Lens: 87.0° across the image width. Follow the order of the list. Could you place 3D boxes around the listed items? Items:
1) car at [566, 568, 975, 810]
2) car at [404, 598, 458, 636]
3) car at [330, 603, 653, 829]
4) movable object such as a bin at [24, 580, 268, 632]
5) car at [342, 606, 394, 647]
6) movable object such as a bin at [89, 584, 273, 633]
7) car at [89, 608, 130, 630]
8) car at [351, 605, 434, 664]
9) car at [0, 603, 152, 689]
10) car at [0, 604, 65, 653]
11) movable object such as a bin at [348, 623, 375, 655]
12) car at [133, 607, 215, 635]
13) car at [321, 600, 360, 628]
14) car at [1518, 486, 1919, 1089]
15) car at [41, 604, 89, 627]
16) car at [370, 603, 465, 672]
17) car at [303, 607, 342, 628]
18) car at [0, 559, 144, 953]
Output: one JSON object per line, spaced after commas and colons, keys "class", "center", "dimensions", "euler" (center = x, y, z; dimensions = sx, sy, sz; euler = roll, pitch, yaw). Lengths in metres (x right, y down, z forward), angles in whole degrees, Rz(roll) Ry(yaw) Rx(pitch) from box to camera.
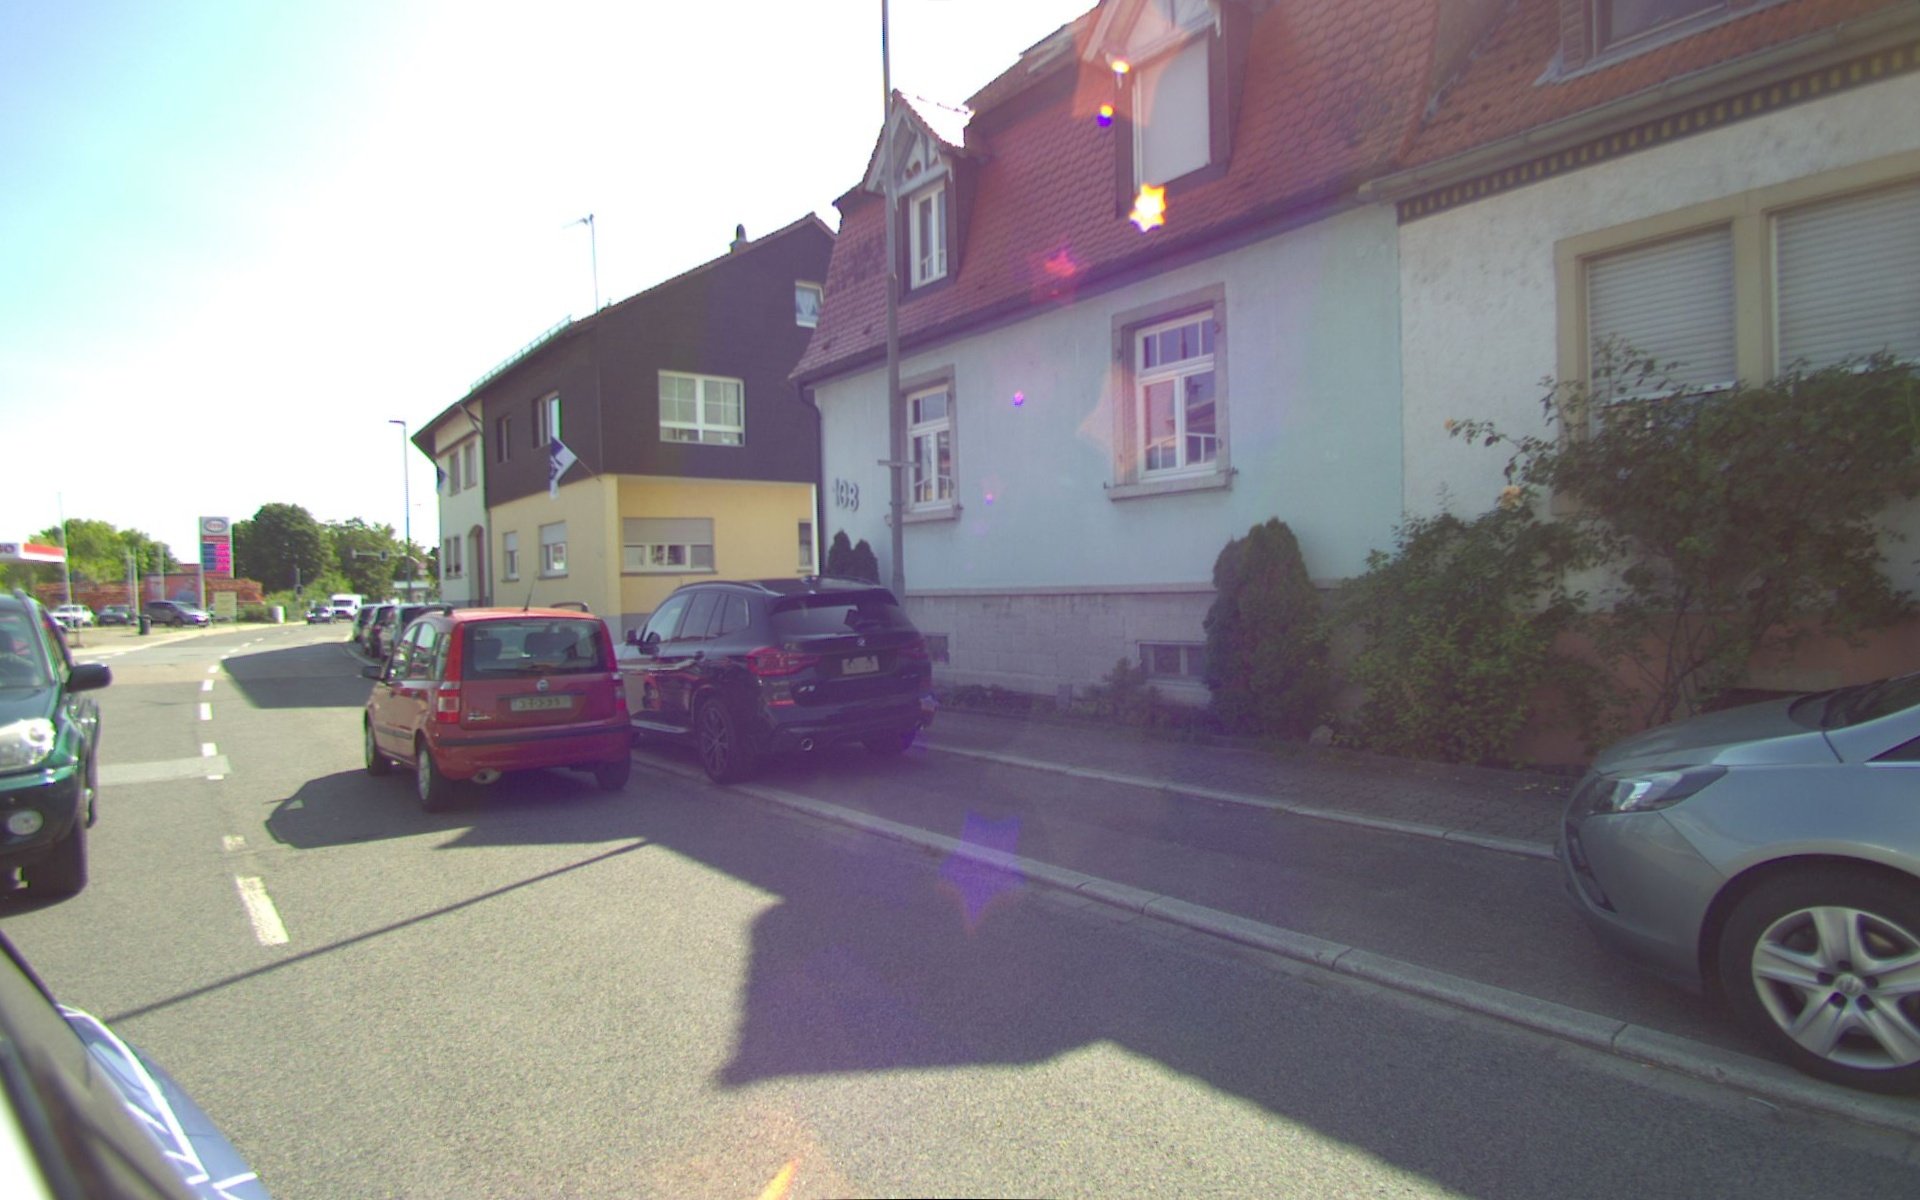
{"class": "car", "center": [-2.076, 0.636, 9.735], "dimensions": [1.896, 1.680, 4.675], "euler": [-4, 2, -37]}
{"class": "car", "center": [-28.324, 0.880, 54.319], "dimensions": [1.811, 1.806, 4.356], "euler": [-4, 1, -18]}
{"class": "car", "center": [-4.240, 0.824, 8.871], "dimensions": [1.581, 1.500, 3.631], "euler": [-3, 1, -41]}
{"class": "movable object such as a bin", "center": [-68.338, 0.455, 85.652], "dimensions": [15.826, 4.049, 2.783], "euler": [-1, 0, -27]}
{"class": "car", "center": [-23.581, 1.005, 40.392], "dimensions": [1.660, 1.473, 3.660], "euler": [-2, 1, -29]}
{"class": "movable object such as a bin", "center": [-71.268, 0.757, 93.127], "dimensions": [13.067, 4.197, 2.872], "euler": [-1, 0, -27]}
{"class": "car", "center": [-64.222, 1.399, 76.474], "dimensions": [1.816, 1.604, 4.117], "euler": [-1, 0, -32]}
{"class": "car", "center": [-16.598, 0.950, 29.501], "dimensions": [1.656, 1.447, 4.006], "euler": [-5, 3, -35]}
{"class": "car", "center": [-18.519, 1.023, 21.008], "dimensions": [1.708, 1.506, 4.368], "euler": [0, -6, -25]}
{"class": "car", "center": [-33.655, 0.978, 34.726], "dimensions": [1.822, 1.666, 4.077], "euler": [-1, 0, 26]}
{"class": "movable object such as a bin", "center": [-19.146, 1.244, 32.381], "dimensions": [0.544, 0.935, 0.827], "euler": [-7, 3, -40]}
{"class": "car", "center": [-48.359, 1.287, 62.249], "dimensions": [4.139, 1.567, 1.768], "euler": [-1, 0, 13]}
{"class": "car", "center": [-57.164, 1.237, 93.434], "dimensions": [1.906, 2.521, 5.857], "euler": [-1, 0, -20]}
{"class": "car", "center": [4.132, 0.469, 2.270], "dimensions": [1.849, 1.649, 4.674], "euler": [-3, 1, -37]}
{"class": "car", "center": [-66.405, 1.147, 75.138], "dimensions": [1.971, 1.604, 4.351], "euler": [-1, 0, -32]}
{"class": "car", "center": [-13.769, 0.877, 25.599], "dimensions": [1.619, 1.512, 3.791], "euler": [-4, 2, -35]}
{"class": "car", "center": [-51.453, 1.398, 81.753], "dimensions": [1.815, 1.604, 4.119], "euler": [-1, 0, -20]}
{"class": "car", "center": [-6.023, 0.735, 5.794], "dimensions": [1.819, 1.709, 4.408], "euler": [0, -1, -35]}
